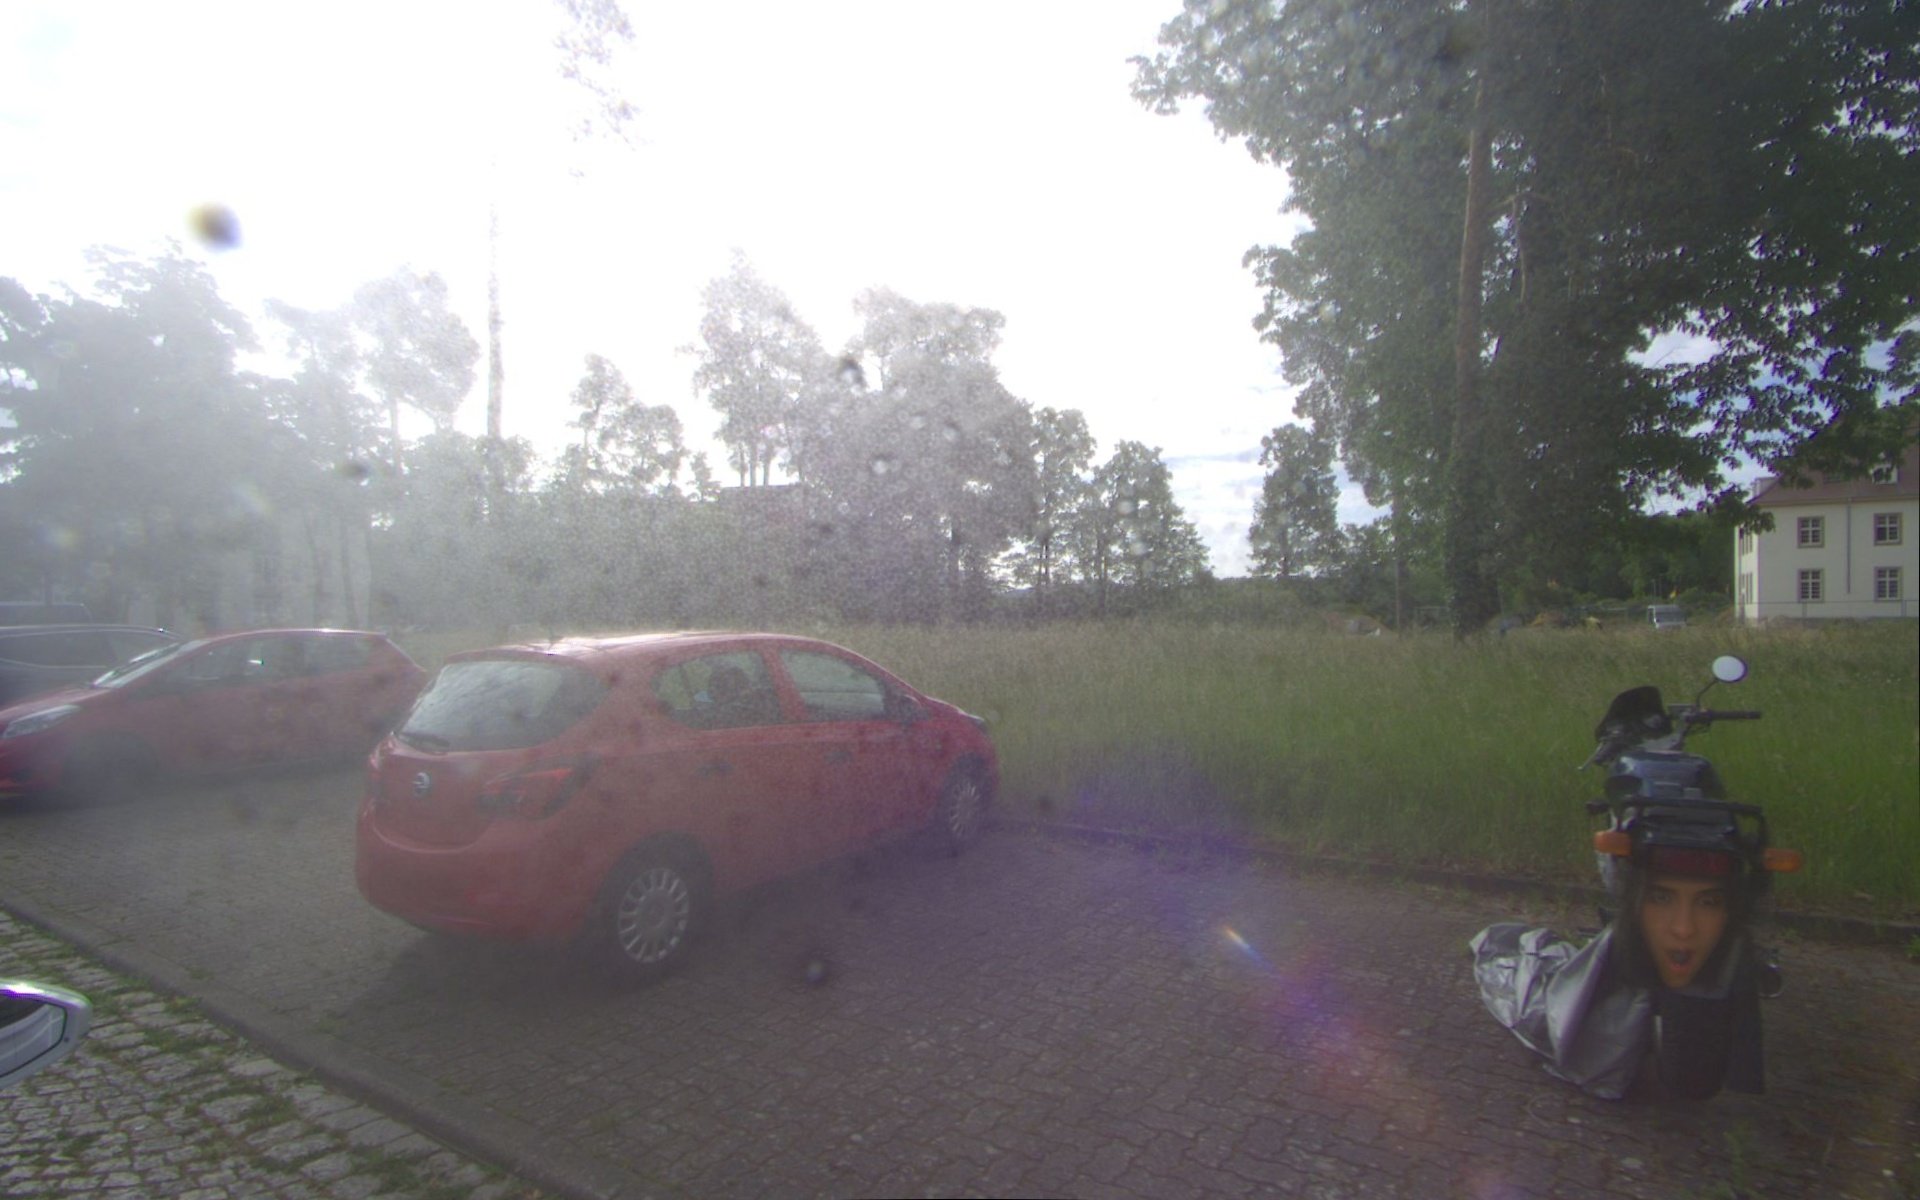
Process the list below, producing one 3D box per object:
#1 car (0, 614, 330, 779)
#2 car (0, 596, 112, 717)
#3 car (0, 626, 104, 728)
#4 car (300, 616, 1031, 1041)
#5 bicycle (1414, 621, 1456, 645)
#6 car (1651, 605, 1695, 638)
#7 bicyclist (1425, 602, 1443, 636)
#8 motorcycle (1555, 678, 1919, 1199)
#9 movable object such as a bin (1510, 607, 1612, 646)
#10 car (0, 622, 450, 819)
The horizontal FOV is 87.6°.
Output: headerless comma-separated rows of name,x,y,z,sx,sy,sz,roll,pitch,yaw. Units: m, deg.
car,-9.714,0.999,11.332,1.725,1.573,4.021,-1,0,31
car,-17.085,0.962,16.222,1.903,1.980,4.745,-1,0,32
car,-15.096,1.171,14.590,1.591,1.469,3.665,-1,0,31
car,-1.285,0.886,5.772,1.754,1.479,3.816,-1,0,33
bicycle,24.738,1.714,52.204,1.905,1.244,0.721,-1,-1,34
car,53.512,1.663,75.233,1.886,2.378,4.583,-1,-2,25
bicyclist,24.710,0.996,52.247,0.761,1.717,0.724,-1,-1,32
motorcycle,2.550,0.964,3.509,0.783,1.201,2.323,-1,0,31
movable object such as a bin,42.831,1.902,71.575,2.146,2.689,5.943,1,-2,-32
car,-7.449,1.018,10.050,1.727,1.479,3.782,-1,0,33
